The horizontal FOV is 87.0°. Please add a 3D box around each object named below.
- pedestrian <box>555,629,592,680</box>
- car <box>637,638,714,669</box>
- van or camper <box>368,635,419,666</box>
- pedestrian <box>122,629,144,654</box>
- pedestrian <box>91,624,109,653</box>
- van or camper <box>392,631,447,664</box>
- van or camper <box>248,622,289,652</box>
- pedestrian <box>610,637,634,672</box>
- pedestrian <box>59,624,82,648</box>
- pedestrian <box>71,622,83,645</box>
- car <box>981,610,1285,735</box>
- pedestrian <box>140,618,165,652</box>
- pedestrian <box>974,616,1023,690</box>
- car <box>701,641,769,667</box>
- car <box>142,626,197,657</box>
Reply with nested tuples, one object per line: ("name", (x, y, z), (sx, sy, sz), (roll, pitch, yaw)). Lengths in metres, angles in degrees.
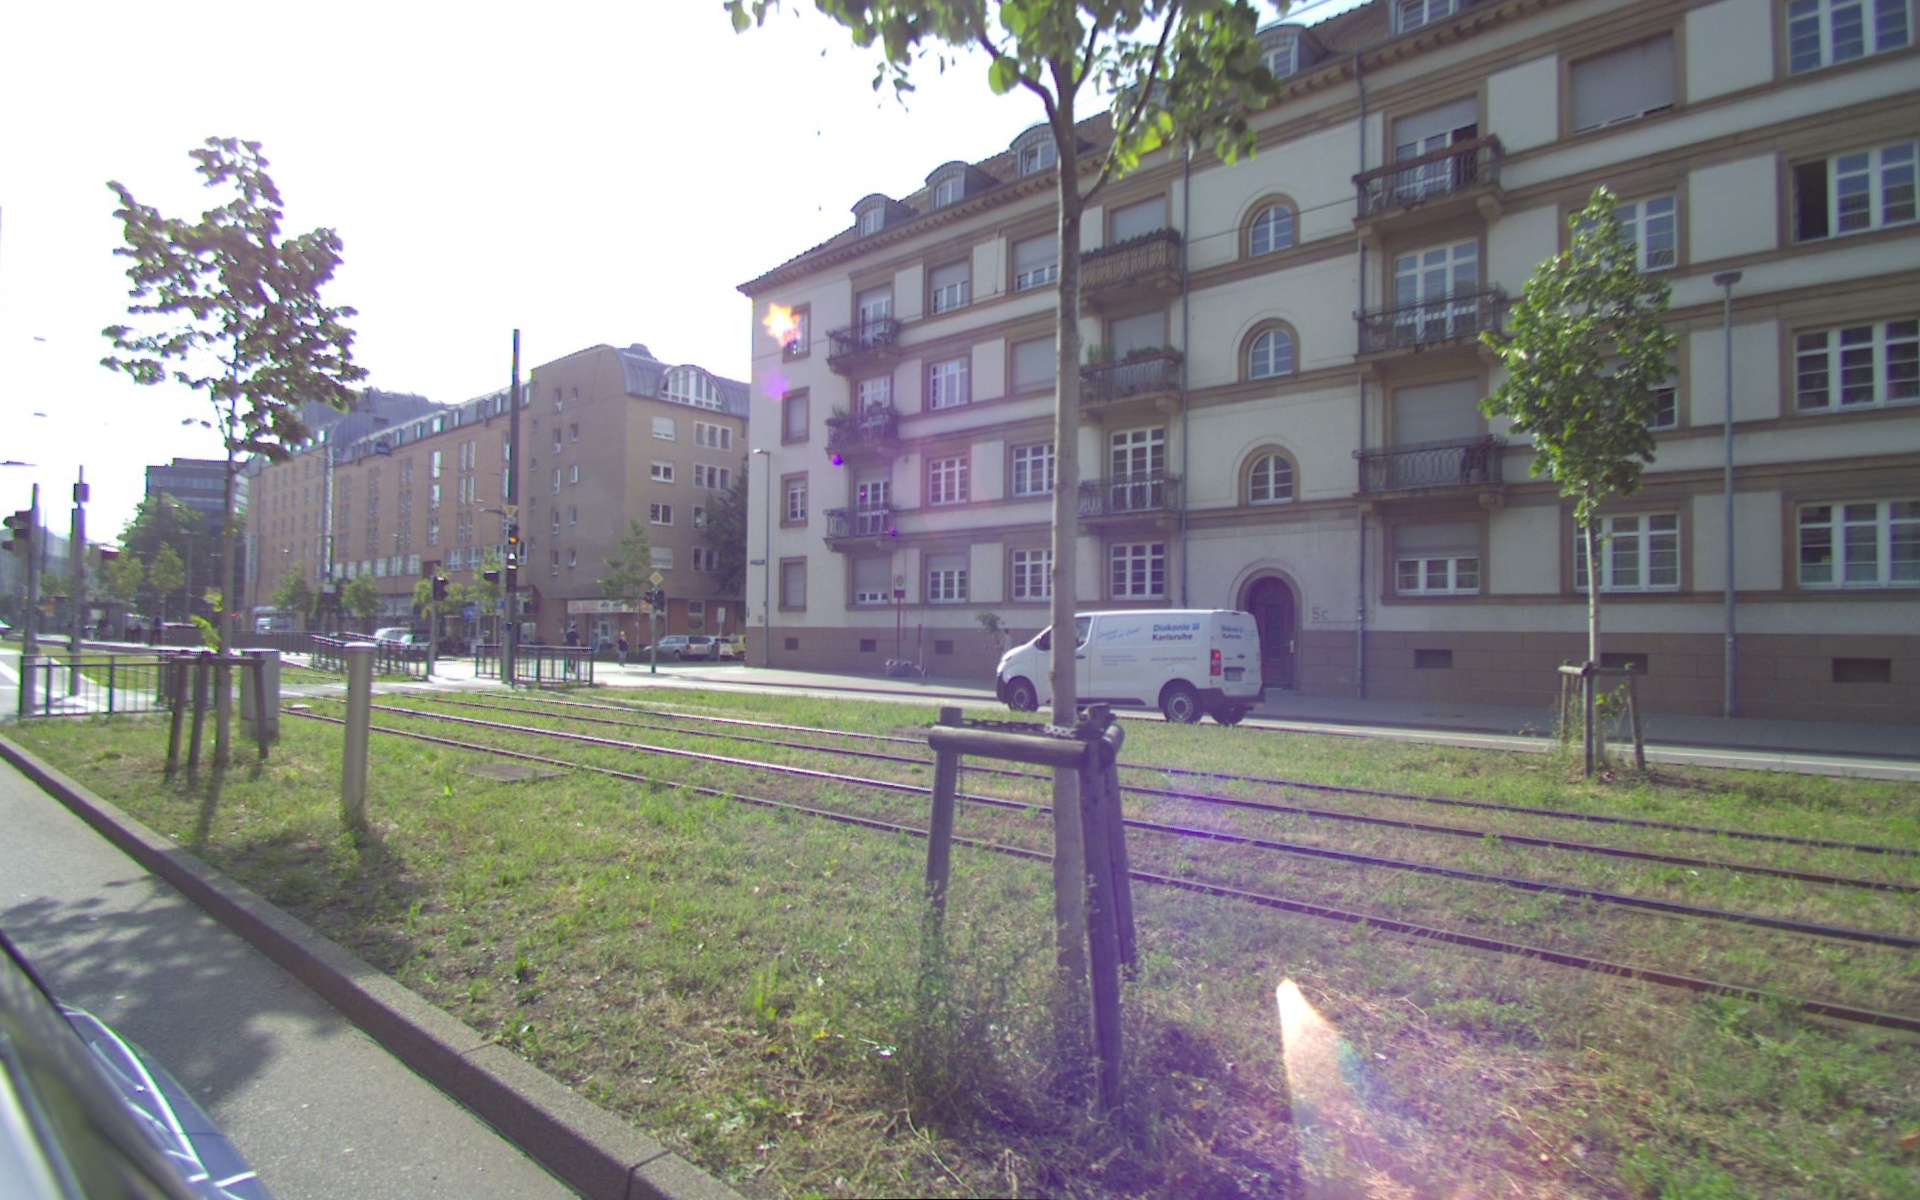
("pedestrian", (-14.783, 2.074, 38.762), (0.856, 1.882, 1.066), (0, -2, 14))
("car", (-16.052, 2.991, 57.018), (4.548, 1.612, 1.747), (-1, -3, 37))
("van or camper", (-37.380, 3.307, 66.717), (1.970, 2.029, 4.003), (3, -3, -44))
("pedestrian", (-51.376, 2.592, 62.888), (0.803, 1.542, 0.676), (0, -2, 10))
("pedestrian", (-57.865, 2.590, 68.071), (0.555, 1.901, 0.796), (-2, -3, 42))
("van or camper", (-33.589, 2.942, 62.848), (1.907, 1.983, 4.003), (3, -3, -44))
("van or camper", (-67.846, 3.613, 99.253), (5.351, 2.823, 1.972), (-1, -3, 42))
("pedestrian", (-15.610, 2.511, 46.748), (0.807, 1.595, 0.671), (-1, -3, 38))
("pedestrian", (-65.685, 2.673, 74.735), (0.824, 1.760, 0.784), (2, -4, 5))
("pedestrian", (-69.242, 2.647, 79.380), (0.698, 1.774, 0.644), (-1, 0, 42))
("car", (2.930, 1.213, 17.917), (5.044, 1.909, 1.972), (-2, -4, 41))
("pedestrian", (-44.339, 1.926, 55.575), (0.741, 1.886, 0.926), (-2, -3, 42))
("pedestrian", (1.105, 1.495, 29.014), (1.156, 2.084, 0.833), (-2, -2, 42))
("car", (-13.716, 3.251, 61.631), (3.995, 1.519, 1.974), (-1, -3, 39))
("car", (-53.955, 2.848, 69.023), (4.928, 2.029, 1.973), (-2, -3, 40))
